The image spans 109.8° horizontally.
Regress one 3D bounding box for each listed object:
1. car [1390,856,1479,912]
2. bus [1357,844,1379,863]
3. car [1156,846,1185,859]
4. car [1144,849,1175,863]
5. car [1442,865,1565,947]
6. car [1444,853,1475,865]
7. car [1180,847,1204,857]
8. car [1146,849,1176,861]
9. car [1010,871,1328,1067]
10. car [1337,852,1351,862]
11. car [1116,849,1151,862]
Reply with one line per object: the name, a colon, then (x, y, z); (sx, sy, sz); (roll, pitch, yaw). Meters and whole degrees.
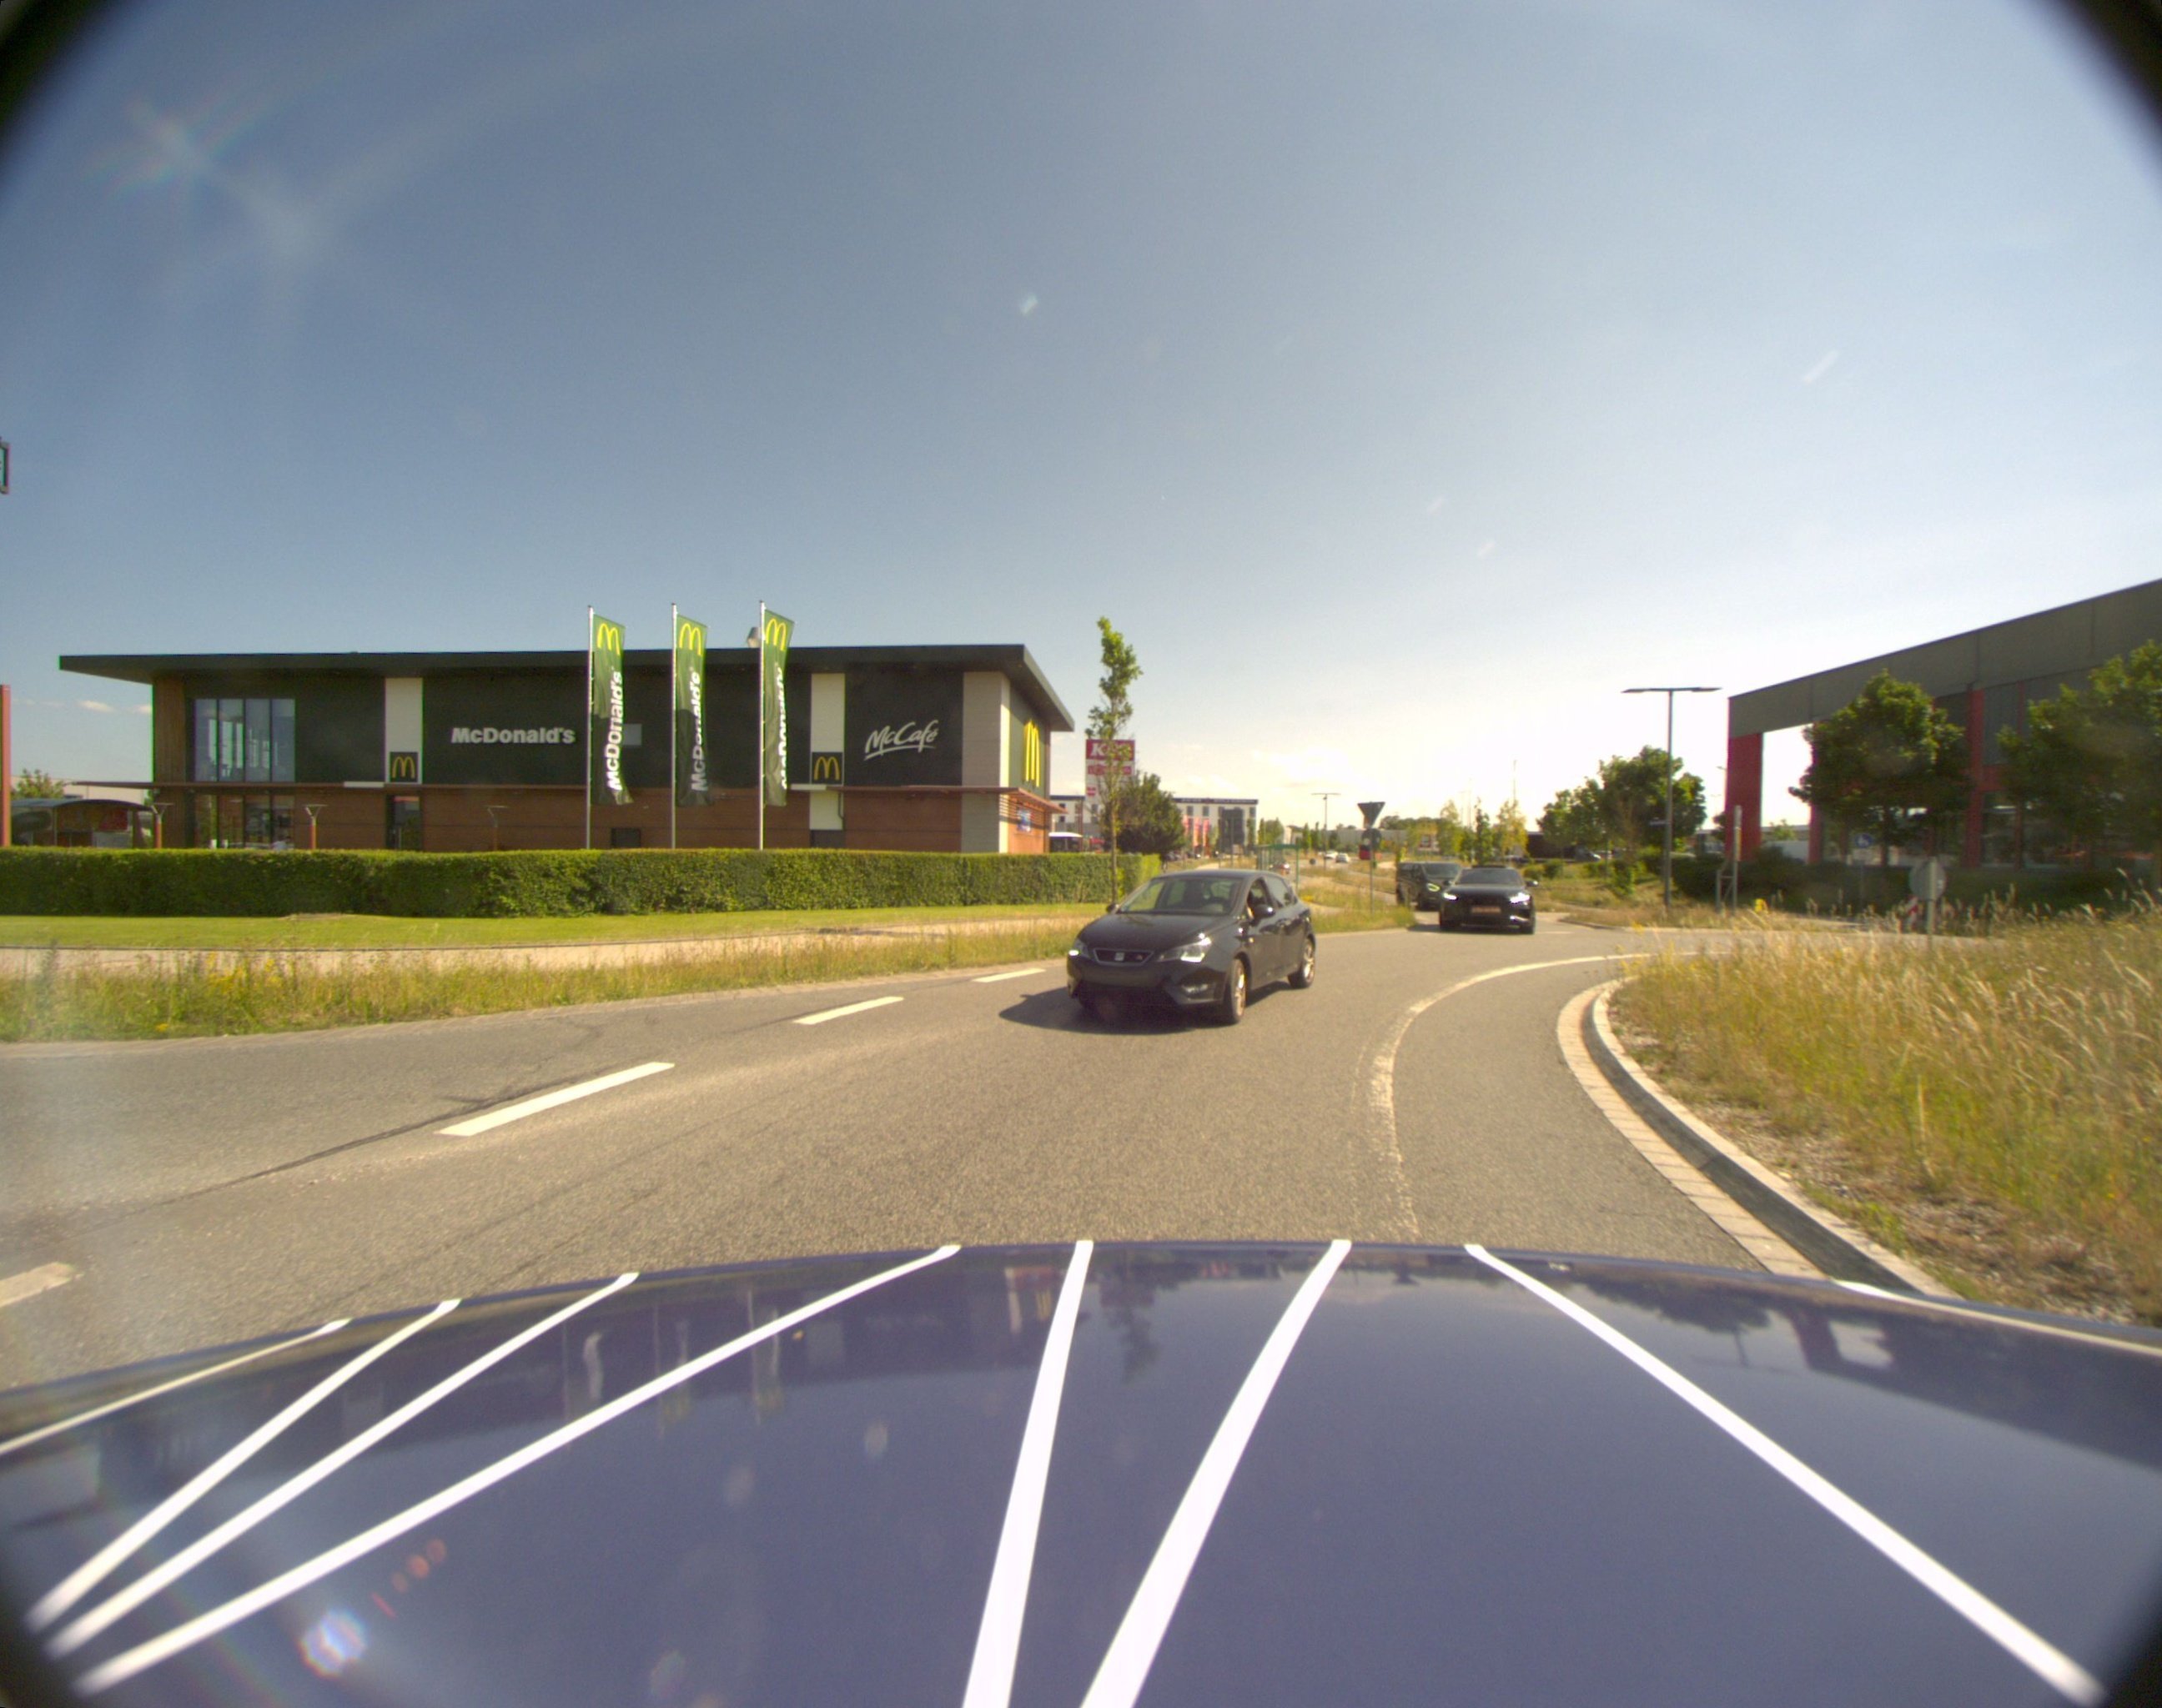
car: (14.738, 1.195, 31.995); (2.078, 2.036, 4.685); (-2, 1, 8)
bus: (52.552, -0.058, 138.859); (2.611, 3.222, 11.902); (1, 0, 26)
car: (14.162, -0.264, 120.110); (4.178, 2.002, 1.936); (1, 1, 18)
car: (11.655, 0.234, 113.029); (4.177, 2.002, 1.936); (1, 1, 20)
car: (10.731, 1.198, 19.169); (1.858, 1.679, 4.008); (-1, 1, 41)
car: (57.265, 0.729, 115.011); (3.934, 1.667, 1.623); (2, 1, 38)
car: (18.795, -0.277, 128.904); (3.816, 1.610, 1.759); (1, 1, 19)
car: (12.188, 0.136, 115.379); (4.176, 1.847, 1.806); (1, 1, 23)
car: (1.206, 0.968, 8.256); (1.858, 1.460, 4.008); (1, 0, 32)
car: (39.719, 0.472, 114.773); (1.793, 1.407, 4.389); (1, 0, 23)
car: (7.105, 0.133, 102.152); (4.435, 1.643, 1.935); (1, 1, 12)
